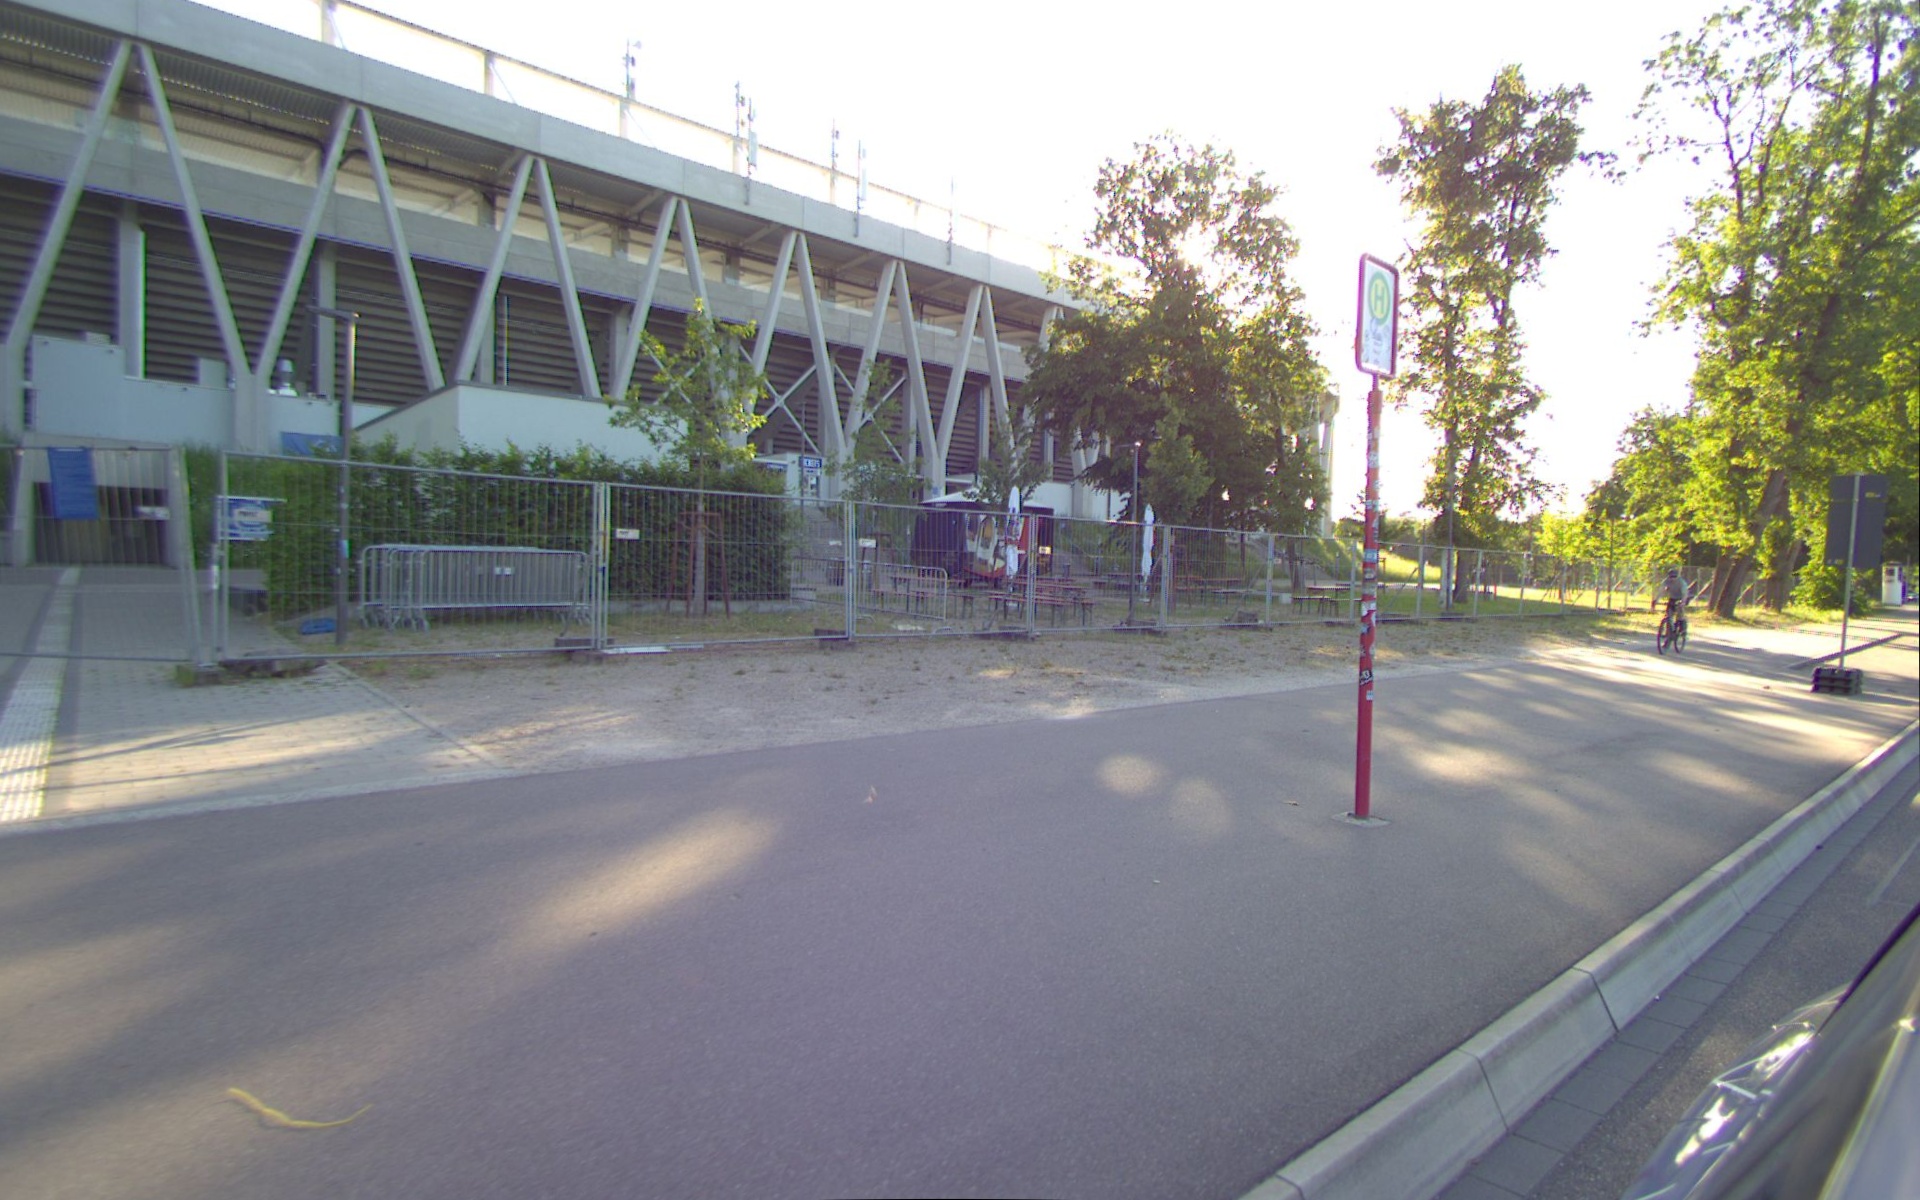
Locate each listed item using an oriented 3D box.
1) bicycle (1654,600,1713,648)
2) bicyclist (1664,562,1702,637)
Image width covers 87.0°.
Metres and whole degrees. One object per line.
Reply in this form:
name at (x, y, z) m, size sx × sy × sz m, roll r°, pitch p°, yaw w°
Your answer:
bicycle at (14.241, 0.456, 19.901) m, size 1.876 × 0.869 × 0.481 m, roll 0°, pitch 2°, yaw -41°
bicyclist at (14.233, -0.017, 19.914) m, size 0.565 × 1.438 × 0.451 m, roll 0°, pitch 2°, yaw -40°
